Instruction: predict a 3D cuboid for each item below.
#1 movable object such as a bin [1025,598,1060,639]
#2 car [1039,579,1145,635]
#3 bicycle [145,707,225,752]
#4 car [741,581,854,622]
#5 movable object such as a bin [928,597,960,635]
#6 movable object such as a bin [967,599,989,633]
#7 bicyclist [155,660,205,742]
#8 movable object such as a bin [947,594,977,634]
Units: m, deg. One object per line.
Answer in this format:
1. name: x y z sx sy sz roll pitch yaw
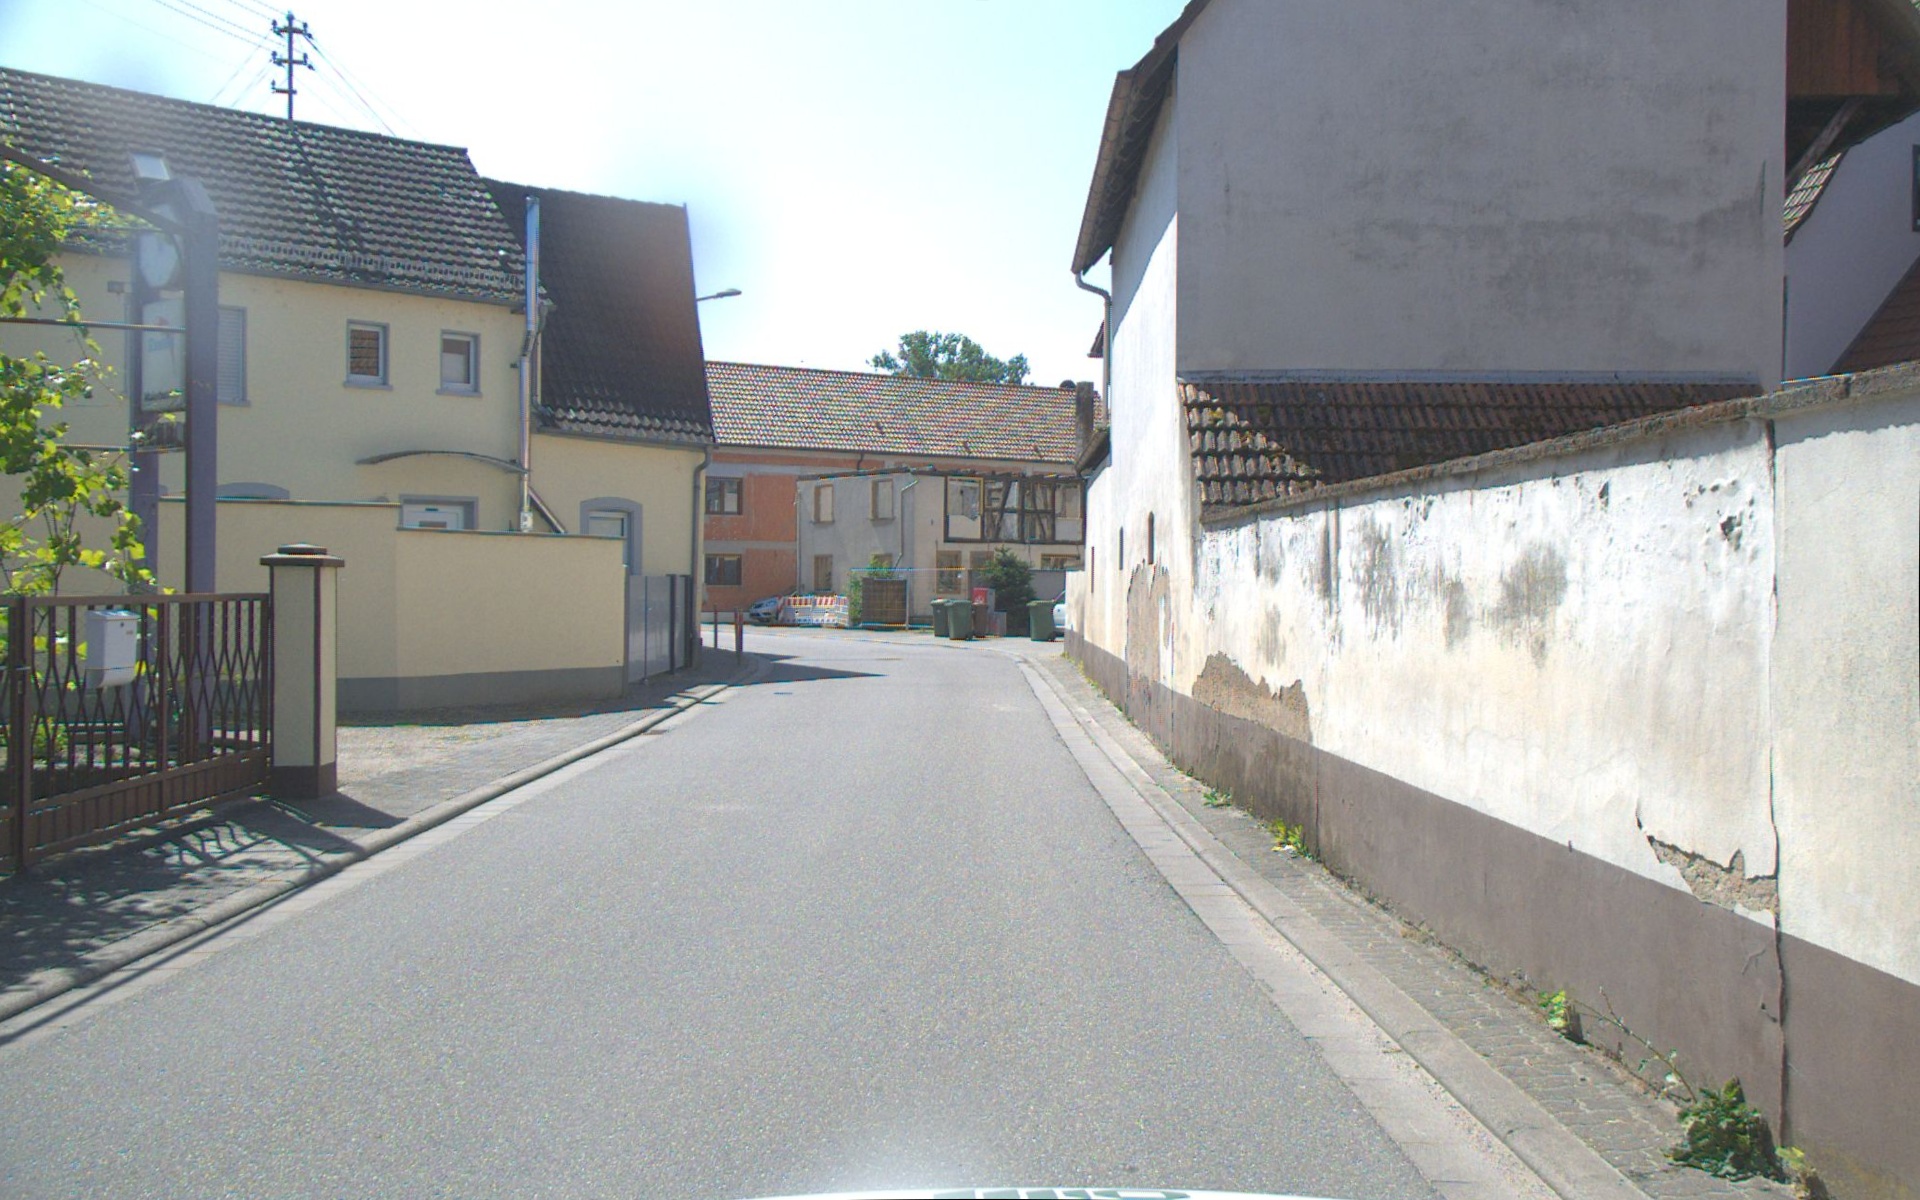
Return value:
1. movable object such as a bin: 2.268 0.498 45.672 0.711 1.100 0.749 0 0 -26
2. car: 3.816 0.168 48.453 1.780 1.555 4.279 0 1 -15
3. bicycle: -5.814 0.971 12.408 0.522 0.310 0.220 0 0 15
4. car: -6.364 0.039 64.899 4.056 1.533 1.846 -1 1 -36
5. movable object such as a bin: -0.474 0.470 48.987 0.657 1.091 0.761 0 0 27
6. movable object such as a bin: 0.521 0.459 48.090 0.458 0.987 0.493 0 0 -23
7. bicyclist: -5.860 0.756 12.425 0.241 0.592 0.218 1 0 15
8. movable object such as a bin: 0.050 0.397 46.711 0.677 1.111 0.633 0 0 -23
